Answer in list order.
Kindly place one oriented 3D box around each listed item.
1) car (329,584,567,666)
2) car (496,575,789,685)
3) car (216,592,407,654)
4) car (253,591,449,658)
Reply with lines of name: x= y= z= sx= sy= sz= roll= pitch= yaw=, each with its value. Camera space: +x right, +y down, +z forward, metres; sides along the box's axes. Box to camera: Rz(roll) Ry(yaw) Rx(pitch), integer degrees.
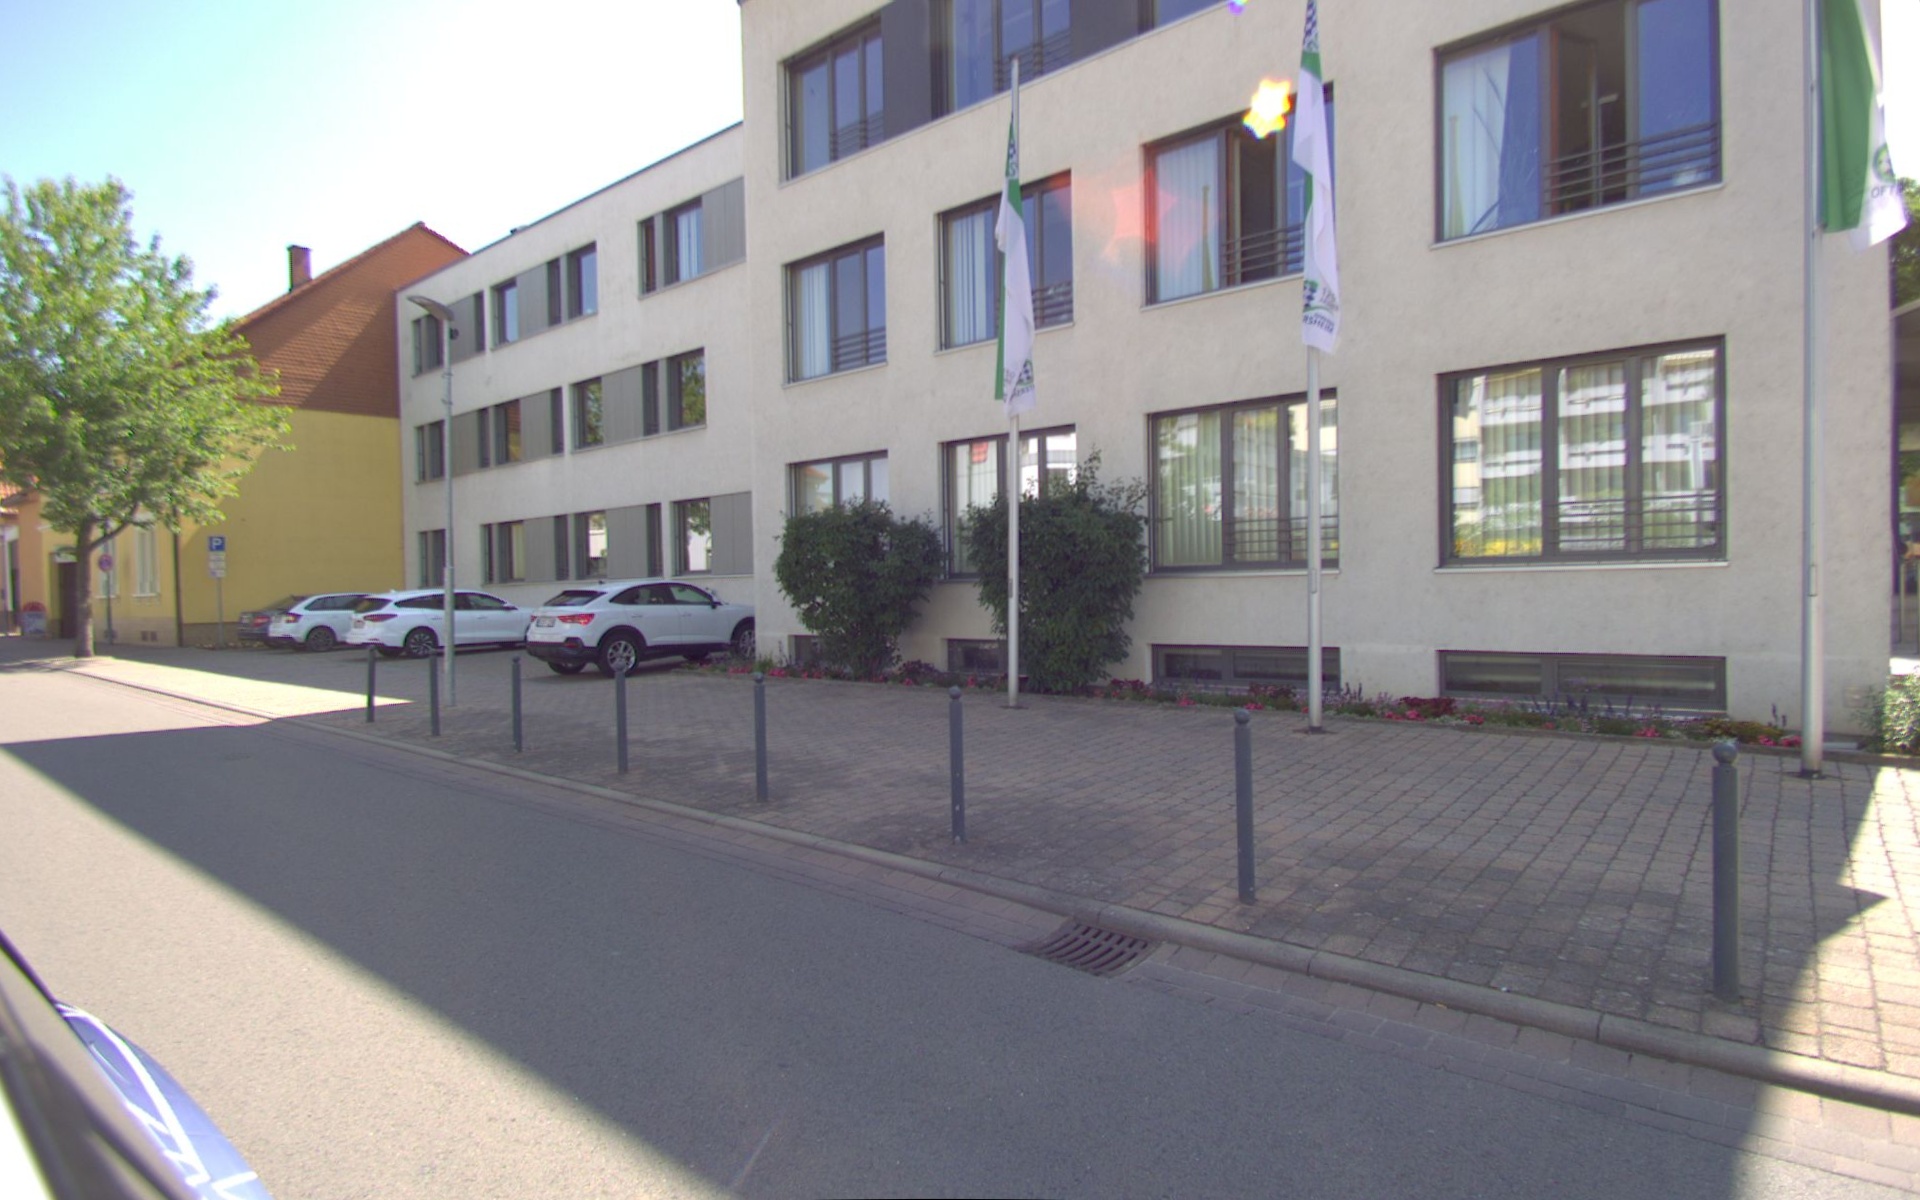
car: x=-11.647 y=0.487 z=23.274 sx=1.933 sy=1.565 sz=4.459 roll=1 pitch=3 yaw=40
car: x=-5.425 y=0.422 z=17.786 sx=2.145 sy=1.565 sz=4.463 roll=-1 pitch=2 yaw=38
car: x=-17.783 y=0.587 z=27.893 sx=1.968 sy=1.442 sz=3.952 roll=-2 pitch=1 yaw=36
car: x=-15.719 y=0.585 z=26.268 sx=1.806 sy=1.462 sz=3.947 roll=-1 pitch=1 yaw=40
